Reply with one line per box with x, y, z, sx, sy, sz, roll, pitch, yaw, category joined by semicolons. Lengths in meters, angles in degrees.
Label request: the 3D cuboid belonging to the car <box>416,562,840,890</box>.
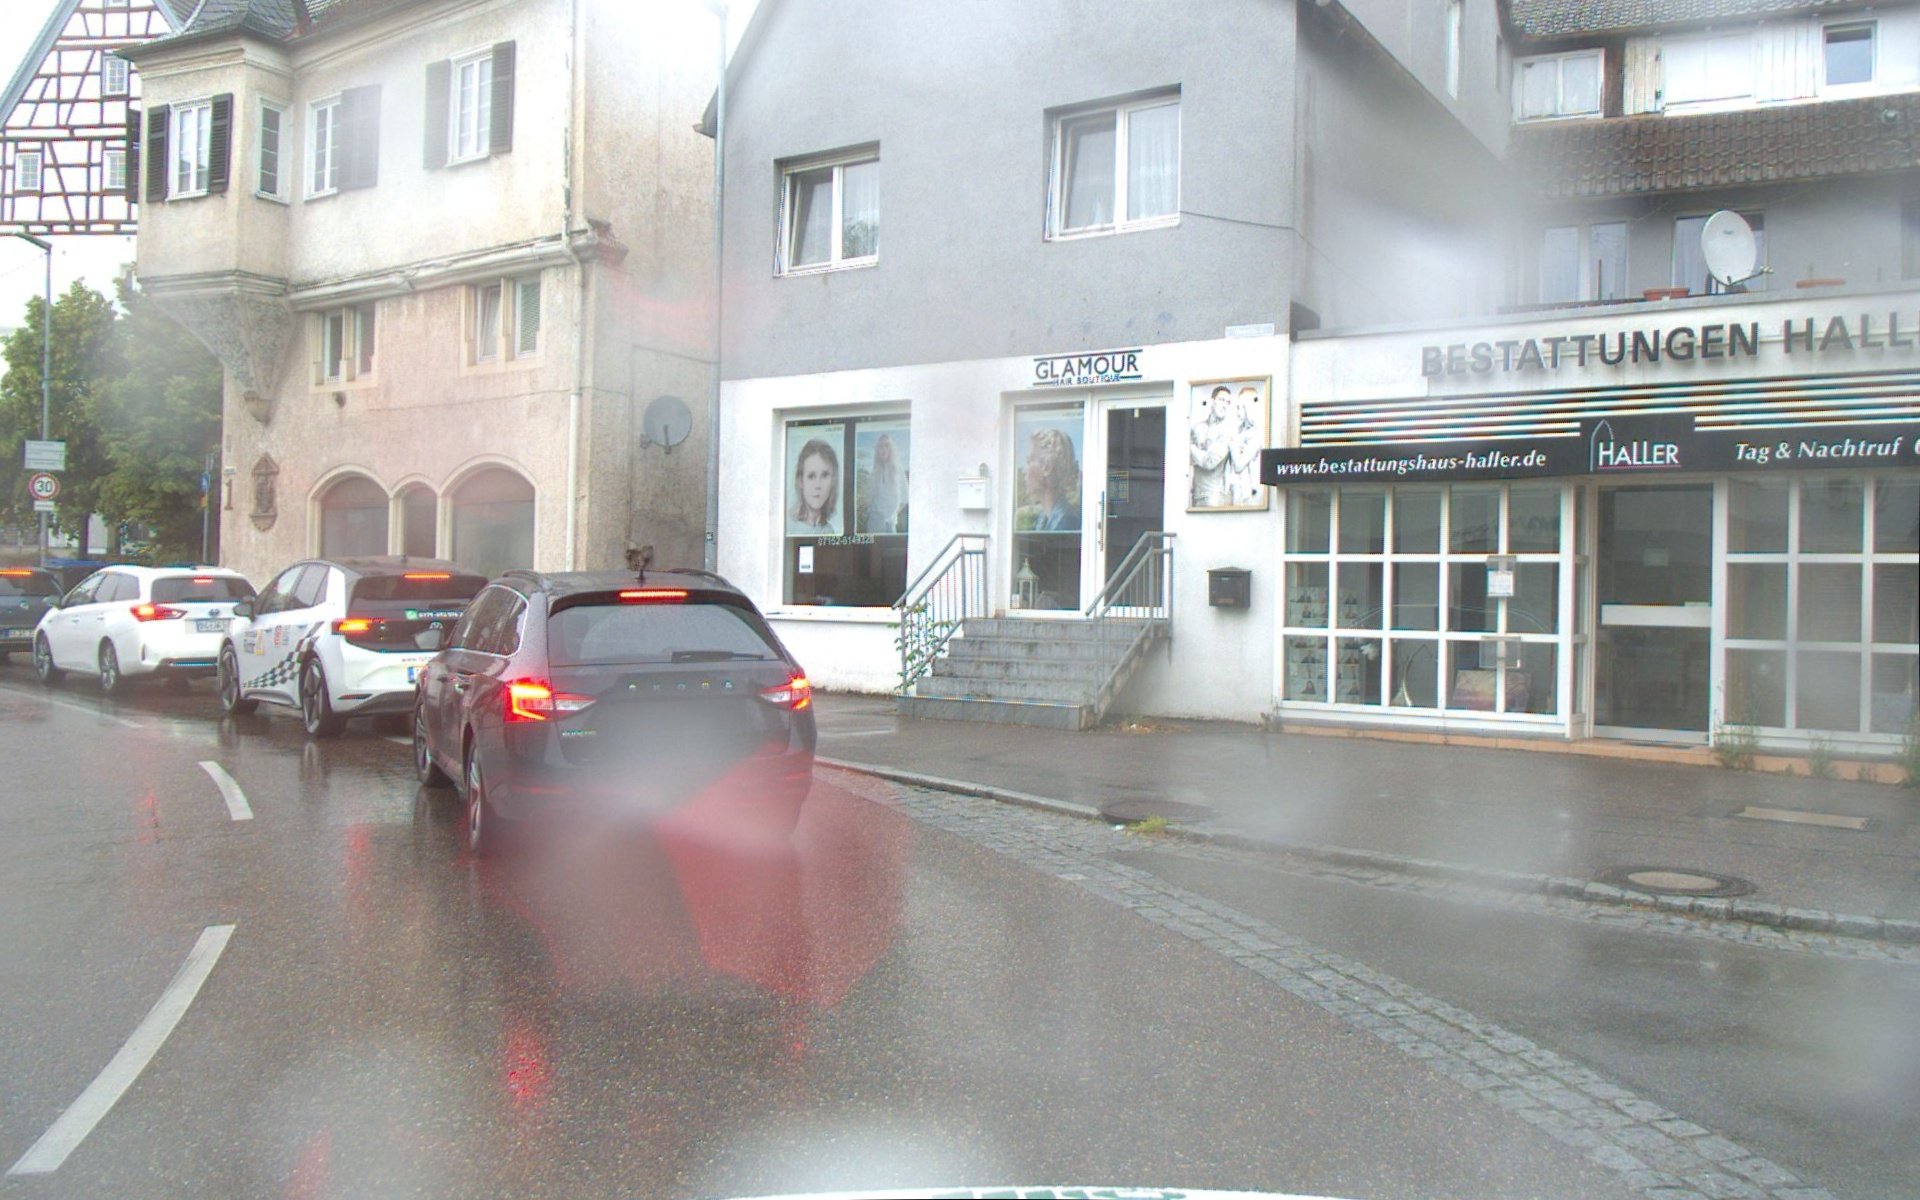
-2.201;0.537;9.947;1.709;1.475;4.212;0;2;-23;car

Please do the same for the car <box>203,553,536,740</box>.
-5.765;0.342;15.844;1.777;1.543;4.183;-1;1;-38;car

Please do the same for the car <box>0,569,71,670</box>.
-14.906;0.248;24.944;3.701;1.385;1.514;2;3;42;car

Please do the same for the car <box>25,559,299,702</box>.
-9.744;0.279;20.056;1.778;1.490;4.096;-1;3;-45;car
